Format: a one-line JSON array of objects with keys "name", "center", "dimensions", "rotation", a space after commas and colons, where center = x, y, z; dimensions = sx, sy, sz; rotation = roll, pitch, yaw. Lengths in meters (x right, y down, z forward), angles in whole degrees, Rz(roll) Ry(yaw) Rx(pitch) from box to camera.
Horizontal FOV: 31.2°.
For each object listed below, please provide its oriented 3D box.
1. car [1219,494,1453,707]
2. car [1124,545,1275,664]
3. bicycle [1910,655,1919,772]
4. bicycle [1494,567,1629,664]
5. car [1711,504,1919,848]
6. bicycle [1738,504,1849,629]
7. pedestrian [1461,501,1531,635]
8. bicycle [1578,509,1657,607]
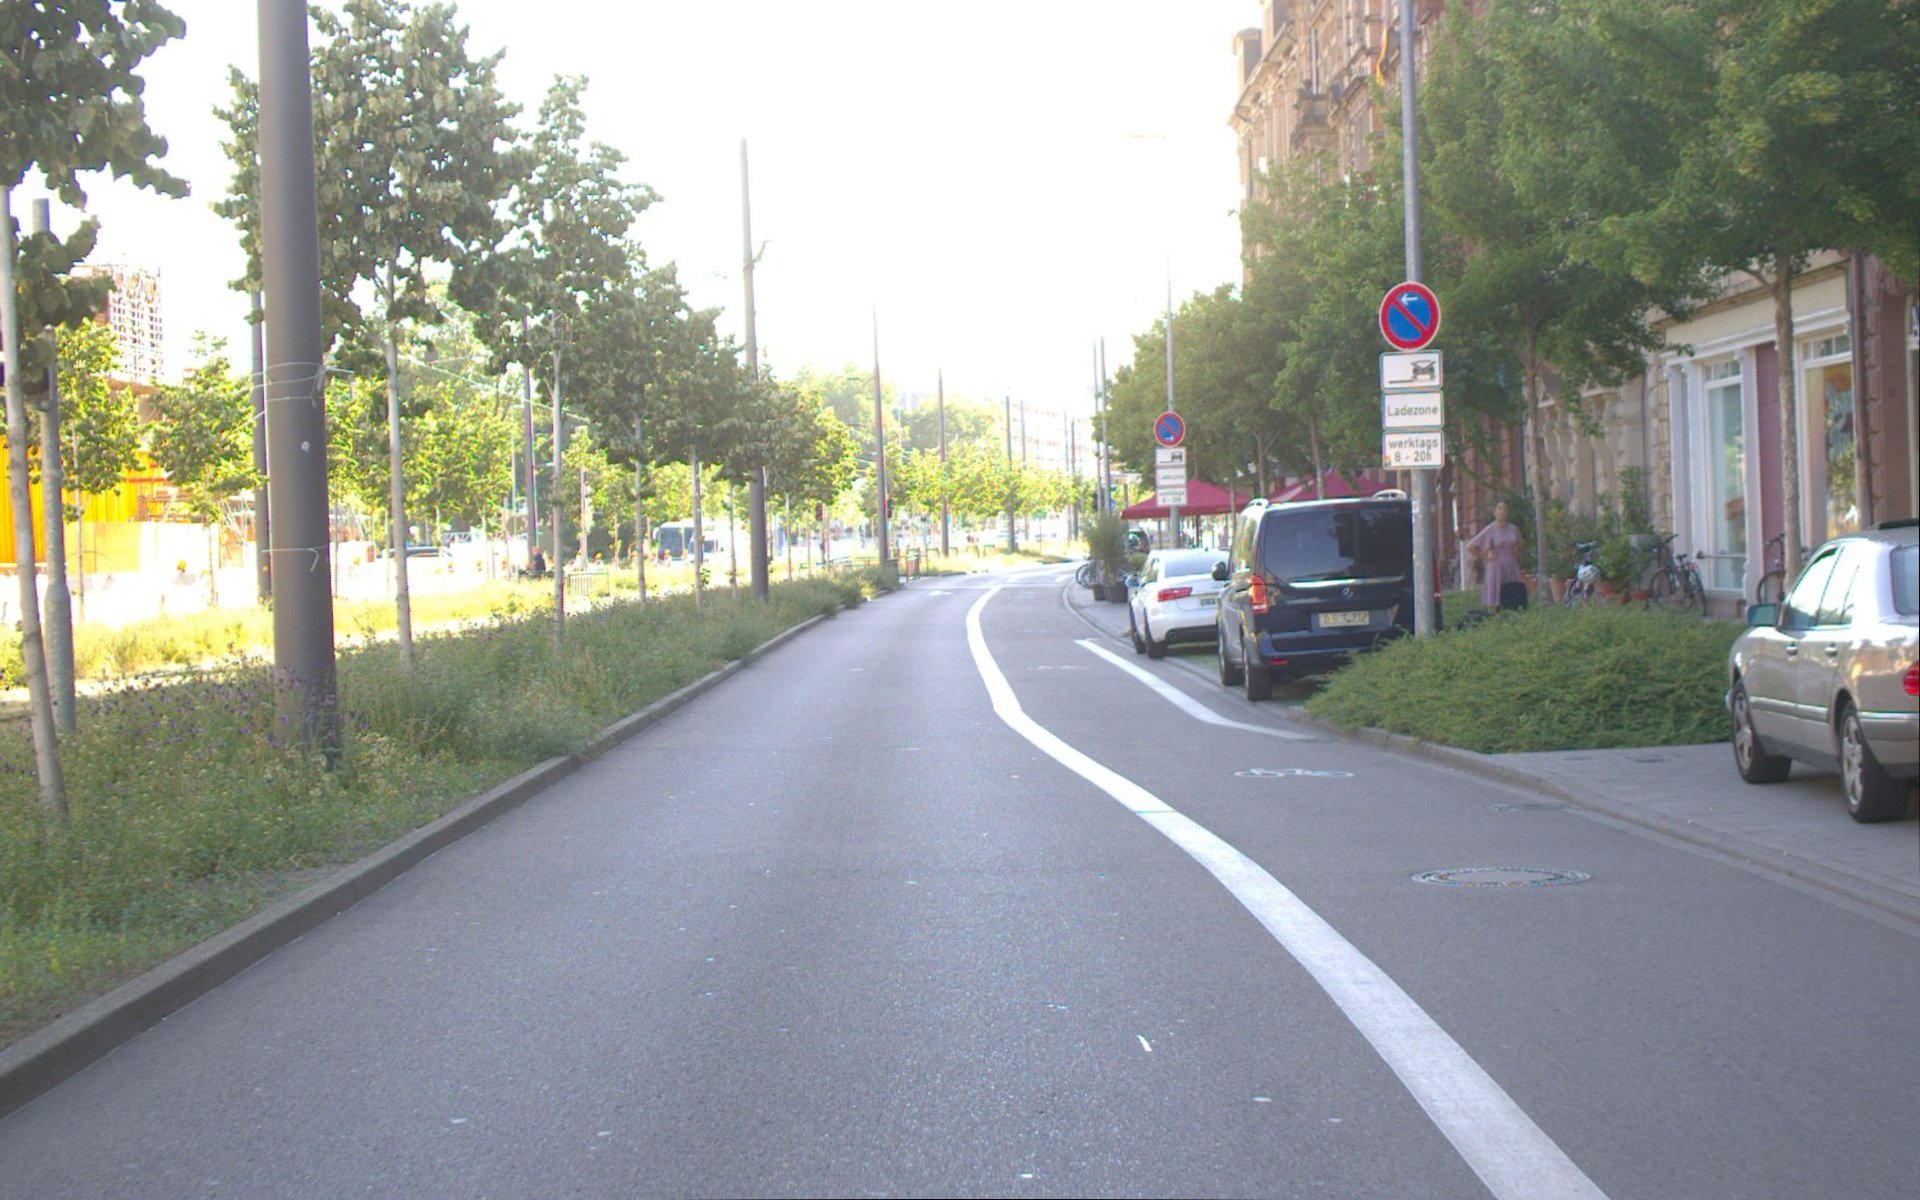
[{"name": "car", "center": [3.676, -0.063, 34.331], "dimensions": [1.885, 1.930, 4.473], "rotation": [-2, 2, 1]}, {"name": "car", "center": [3.280, 0.026, 47.750], "dimensions": [1.849, 1.452, 4.156], "rotation": [-2, 2, 1]}, {"name": "bicycle", "center": [4.355, 0.654, 12.305], "dimensions": [1.691, 1.044, 0.489], "rotation": [-5, 1, 0]}, {"name": "bicycle", "center": [7.226, 0.168, 41.452], "dimensions": [1.081, 1.081, 2.770], "rotation": [-1, 1, -1]}, {"name": "car", "center": [5.152, 0.279, 17.884], "dimensions": [1.637, 1.481, 4.212], "rotation": [-4, 2, 2]}, {"name": "bicycle", "center": [9.768, -0.414, 40.346], "dimensions": [0.661, 1.397, 2.352], "rotation": [-2, 2, -1]}, {"name": "pedestrian", "center": [5.929, -0.354, 38.072], "dimensions": [0.625, 1.455, 0.638], "rotation": [-2, 1, -1]}, {"name": "bicycle", "center": [9.876, -0.647, 51.723], "dimensions": [0.661, 1.397, 2.352], "rotation": [-2, 2, -1]}]
